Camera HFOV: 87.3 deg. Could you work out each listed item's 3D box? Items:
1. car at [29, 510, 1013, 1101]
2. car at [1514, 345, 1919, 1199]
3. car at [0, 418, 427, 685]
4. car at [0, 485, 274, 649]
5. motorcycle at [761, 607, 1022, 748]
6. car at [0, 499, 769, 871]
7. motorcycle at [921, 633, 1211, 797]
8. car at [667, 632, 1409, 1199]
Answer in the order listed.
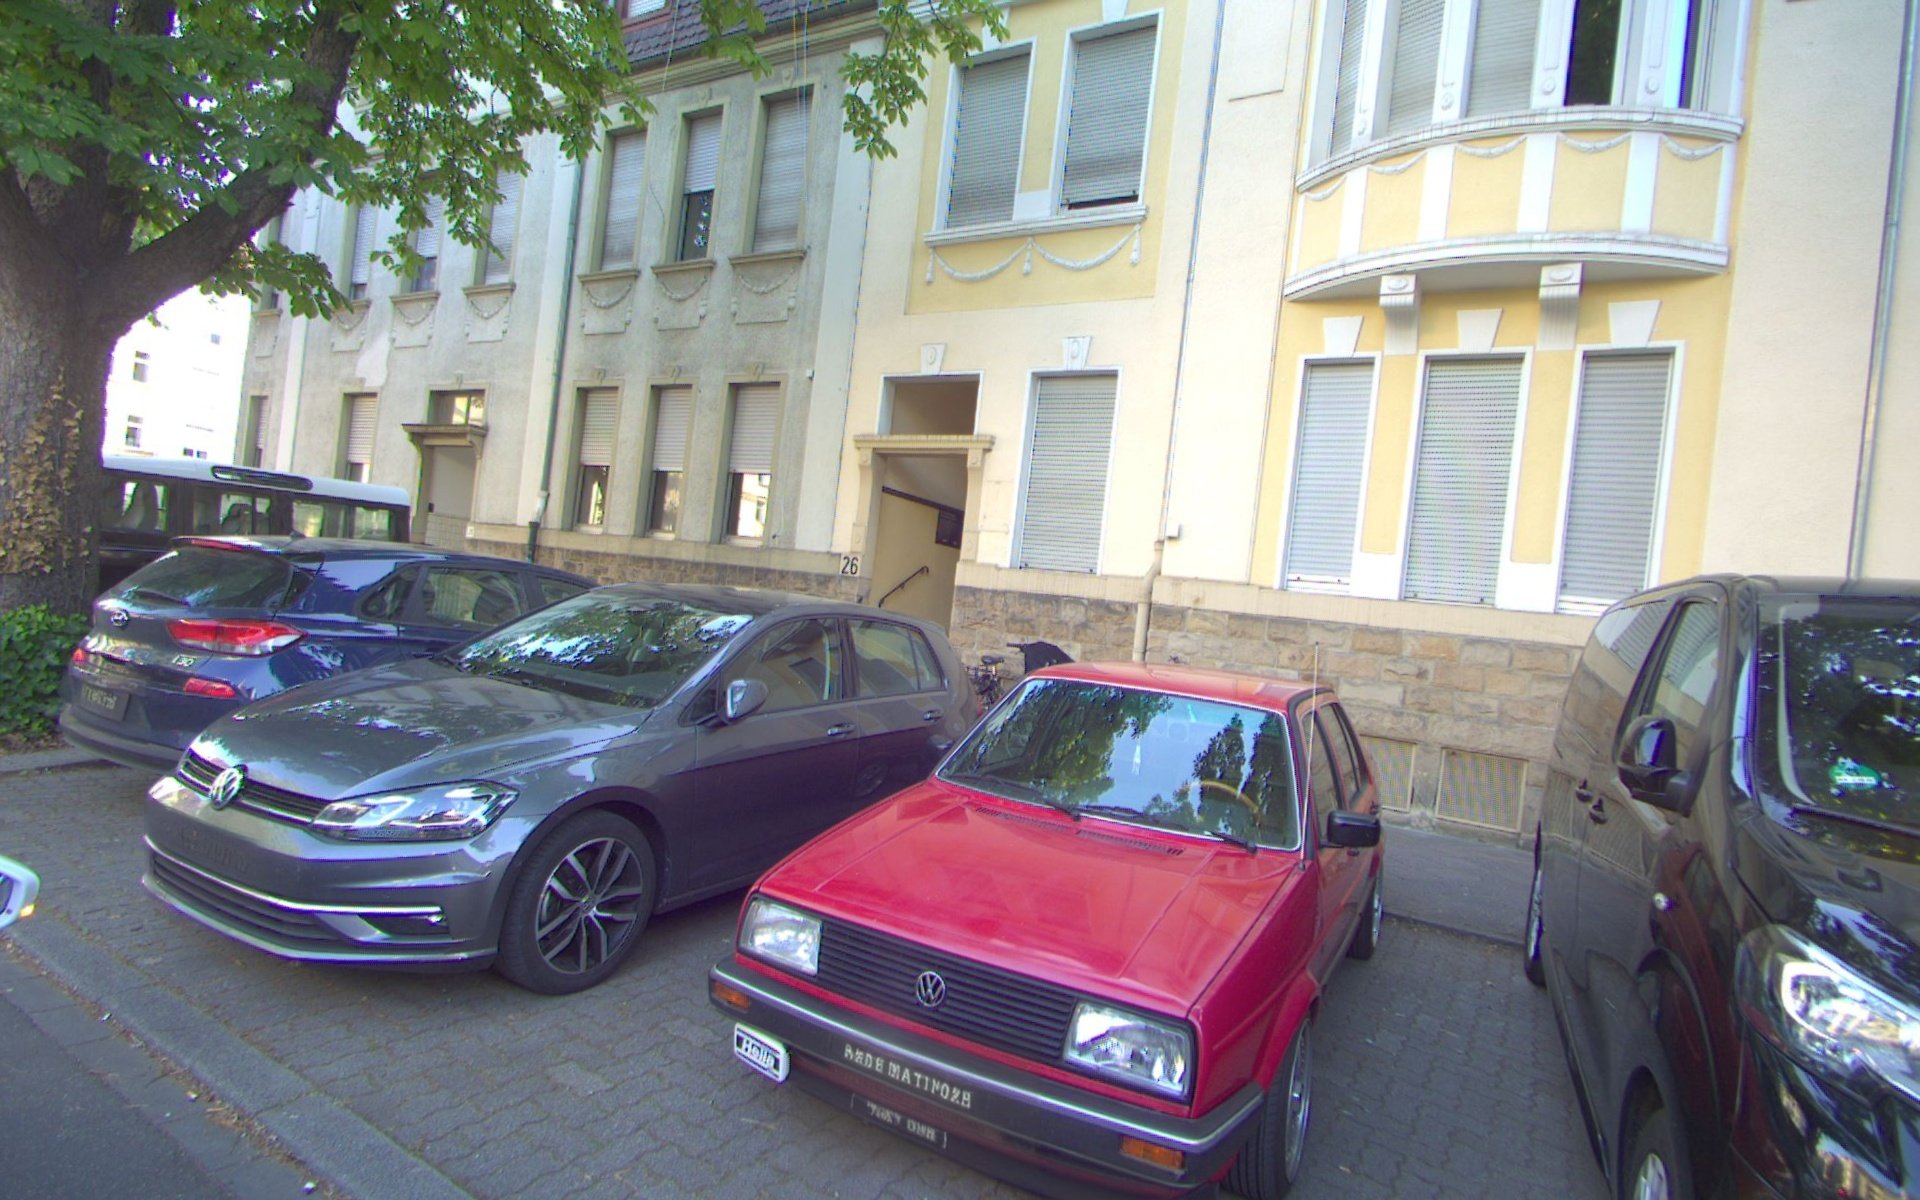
[{"bbox_3d":[-1.433,0.621,4.822,1.693,1.470,4.060,6,0,28],"label":"car"},{"bbox_3d":[2.851,0.869,2.883,1.864,1.898,4.759,6,0,27],"label":"car"},{"bbox_3d":[-7.594,-0.370,9.241,1.671,2.061,4.473,6,0,28],"label":"car"},{"bbox_3d":[-9.989,-0.388,10.942,1.679,1.589,3.730,6,0,28],"label":"car"},{"bbox_3d":[-0.791,0.773,10.790,2.822,1.087,0.694,7,2,31],"label":"motorcycle"},{"bbox_3d":[-3.086,0.424,6.205,1.679,1.470,3.730,6,0,28],"label":"car"},{"bbox_3d":[0.954,0.994,9.401,2.439,1.087,0.959,7,2,32],"label":"motorcycle"},{"bbox_3d":[0.874,0.945,4.310,1.601,1.332,4.144,6,0,27],"label":"car"}]
